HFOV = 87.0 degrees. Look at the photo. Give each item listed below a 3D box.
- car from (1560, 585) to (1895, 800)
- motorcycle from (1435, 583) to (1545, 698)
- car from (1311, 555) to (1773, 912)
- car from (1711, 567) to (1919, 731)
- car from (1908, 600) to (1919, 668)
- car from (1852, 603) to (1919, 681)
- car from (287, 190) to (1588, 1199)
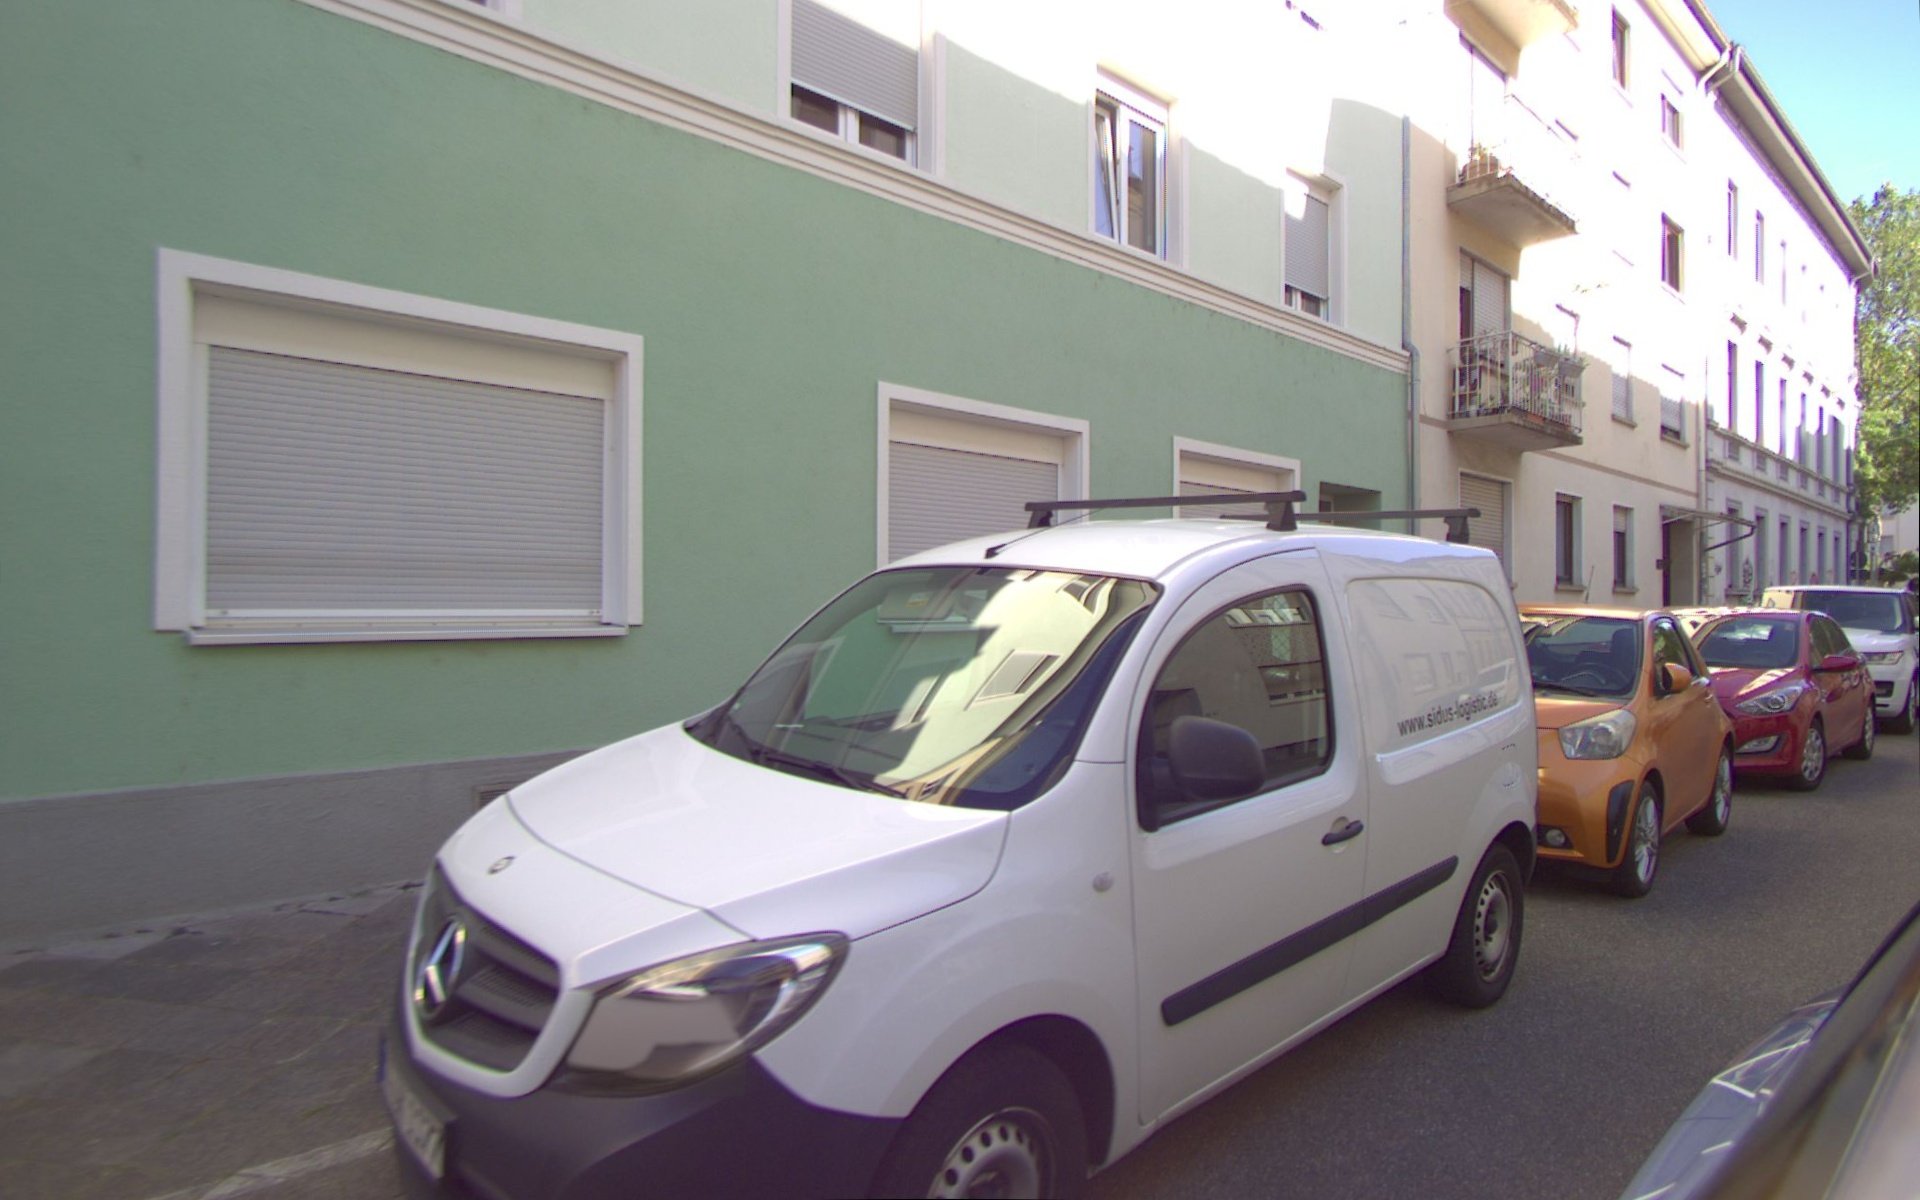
[{"bbox_3d":[7.261,0.695,9.433,3.962,1.589,1.745,1,0,-41],"label":"car"},{"bbox_3d":[6.378,0.453,12.160,1.477,1.294,0.658,0,2,-41],"label":"motorcycle"},{"bbox_3d":[3.901,0.640,6.528,3.620,1.653,1.581,0,-2,-43],"label":"car"},{"bbox_3d":[11.830,0.564,13.446,4.852,1.806,2.008,1,-1,-41],"label":"car"},{"bbox_3d":[23.978,0.768,23.910,4.644,1.539,1.817,1,-2,-41],"label":"car"},{"bbox_3d":[19.447,0.803,20.342,3.802,1.467,1.749,1,-2,-41],"label":"car"},{"bbox_3d":[0.409,0.446,3.404,4.262,1.986,1.784,0,0,-42],"label":"car"}]
